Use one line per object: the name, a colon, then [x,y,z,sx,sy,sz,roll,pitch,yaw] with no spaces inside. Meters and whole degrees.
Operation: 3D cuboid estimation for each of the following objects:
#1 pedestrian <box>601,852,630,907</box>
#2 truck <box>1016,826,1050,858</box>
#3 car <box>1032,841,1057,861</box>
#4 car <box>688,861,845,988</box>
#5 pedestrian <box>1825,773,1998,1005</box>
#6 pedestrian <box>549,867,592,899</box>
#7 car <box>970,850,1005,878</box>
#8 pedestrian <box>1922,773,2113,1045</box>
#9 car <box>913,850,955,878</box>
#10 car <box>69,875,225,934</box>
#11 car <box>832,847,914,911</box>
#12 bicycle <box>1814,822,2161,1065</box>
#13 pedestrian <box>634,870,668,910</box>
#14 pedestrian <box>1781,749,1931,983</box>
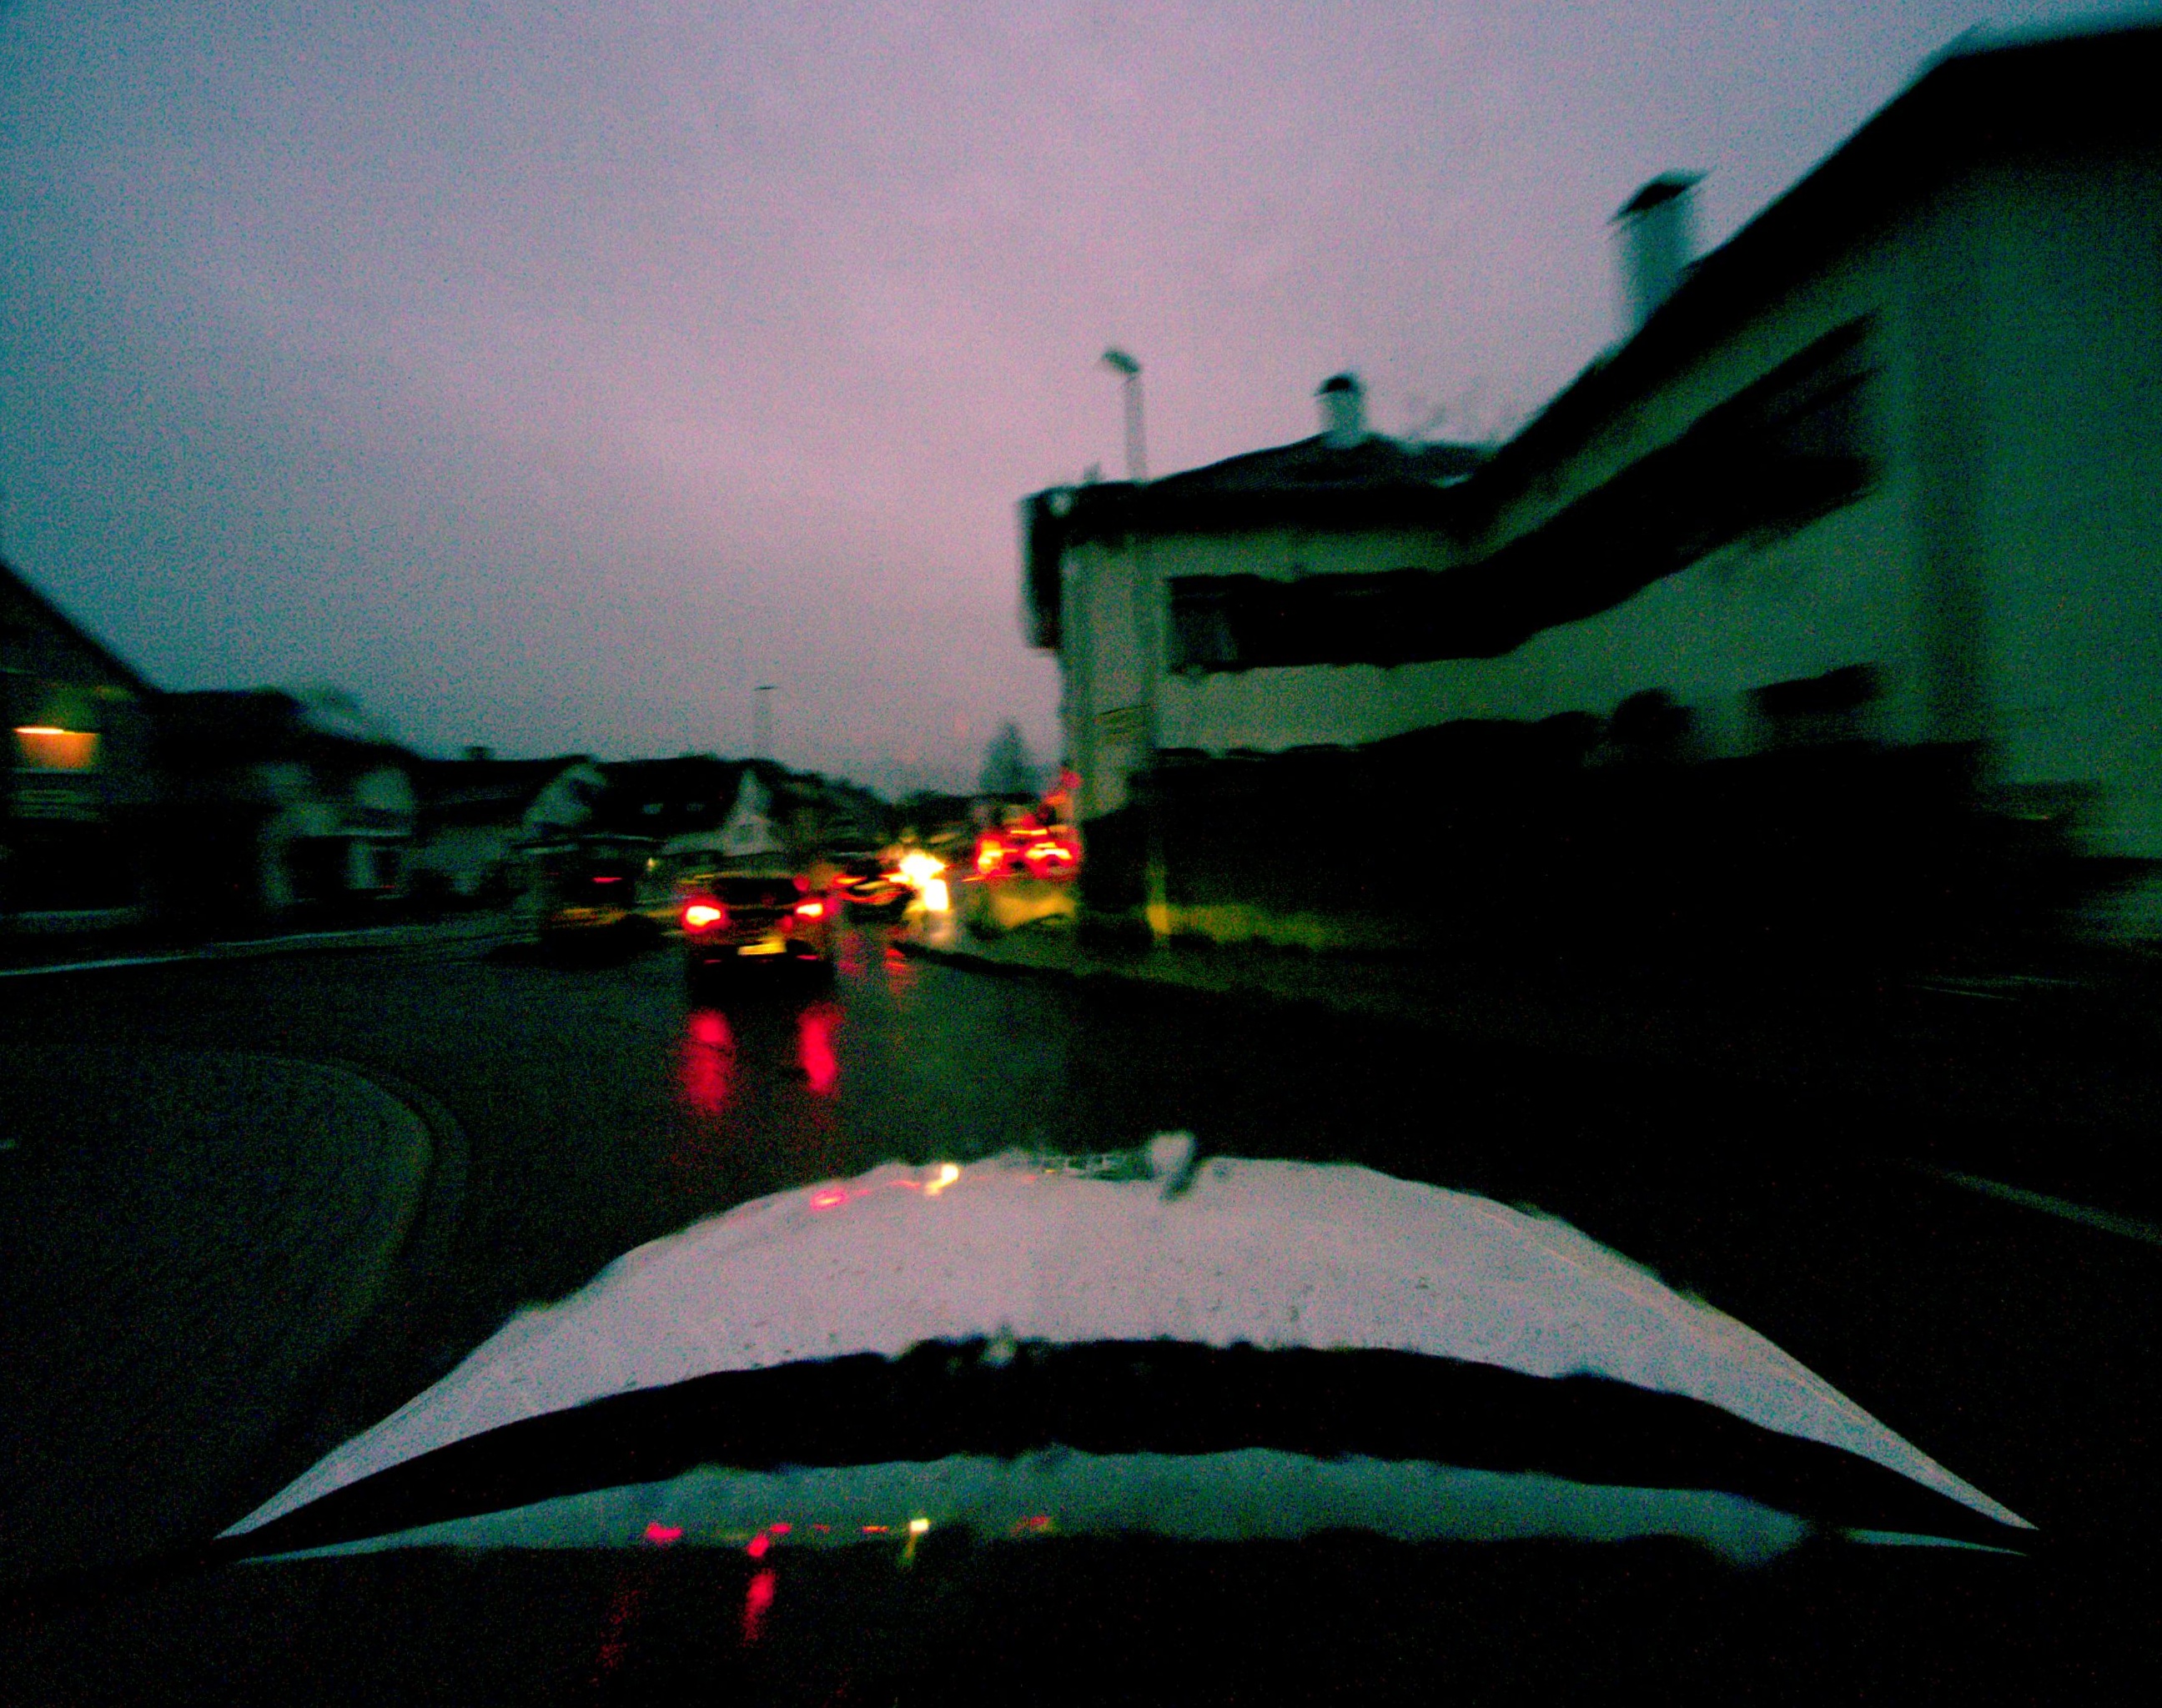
pedestrian: [-16.009,0.861,28.008,0.732,1.818,0.527,-3,1,-22]
truck: [-4.806,-1.281,82.459,2.704,3.010,5.995,-2,1,2]
car: [-2.944,-0.267,66.400,1.684,1.467,3.721,-3,1,2]
car: [-4.382,0.887,11.689,1.715,1.422,3.987,-2,-1,-19]
pedestrian: [6.180,0.247,6.102,0.709,1.621,0.585,-2,1,23]
pedestrian: [-16.911,0.952,27.000,0.859,1.010,0.811,-2,1,-2]
car: [-5.988,0.612,52.416,1.716,1.631,3.999,-3,1,0]
pedestrian: [5.836,0.307,5.118,0.683,1.564,0.614,-2,2,40]
car: [-9.116,0.572,50.668,1.734,1.568,4.063,-2,1,1]
car: [-32.344,1.745,28.243,3.959,1.797,1.816,-2,1,13]
car: [-6.126,0.667,24.385,1.915,1.615,3.938,-3,1,-9]
bicycle: [5.710,0.490,4.875,1.917,1.295,0.555,-2,3,40]
pedestrian: [-15.463,1.283,29.319,0.780,1.348,0.717,-2,1,1]
pedestrian: [6.420,0.092,6.786,0.709,1.831,0.641,-2,3,23]
